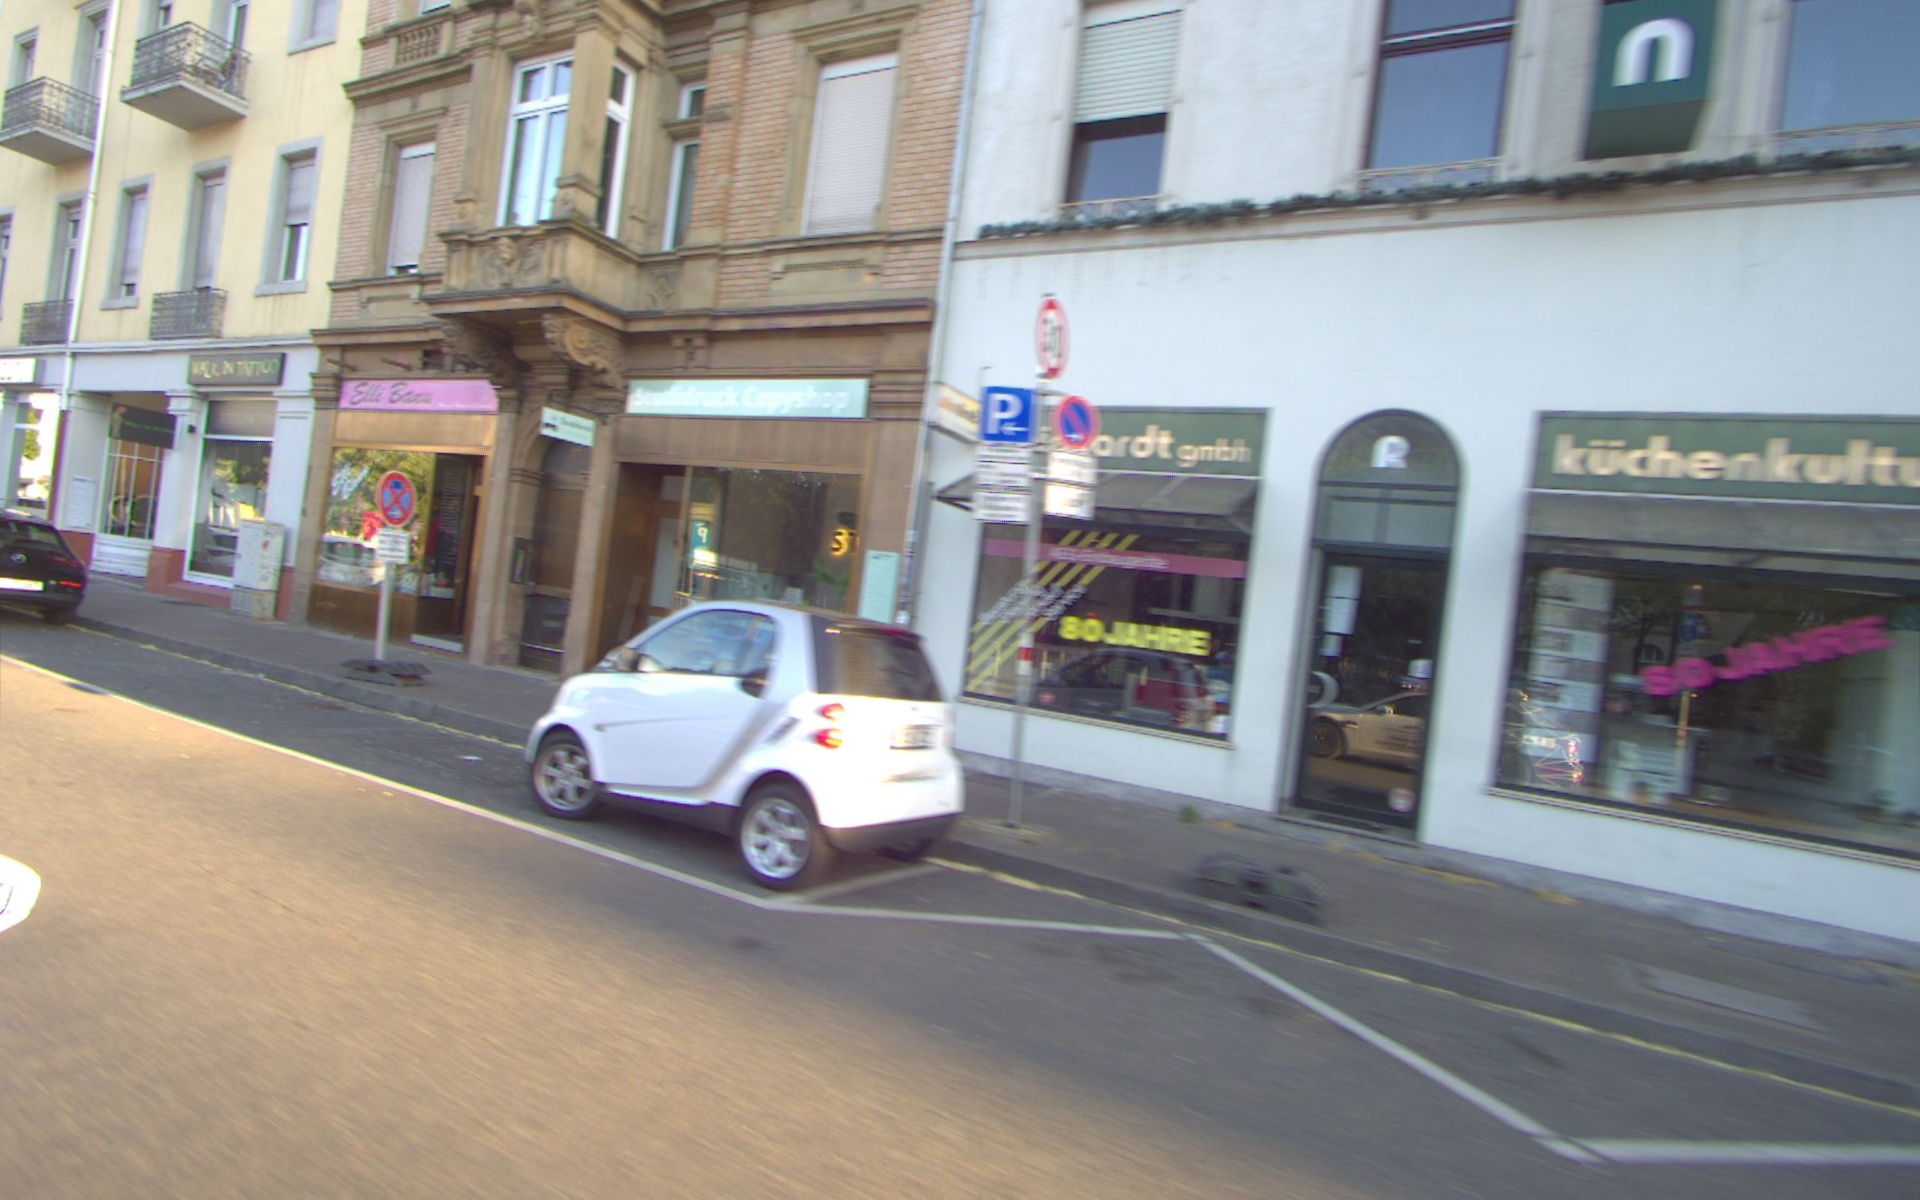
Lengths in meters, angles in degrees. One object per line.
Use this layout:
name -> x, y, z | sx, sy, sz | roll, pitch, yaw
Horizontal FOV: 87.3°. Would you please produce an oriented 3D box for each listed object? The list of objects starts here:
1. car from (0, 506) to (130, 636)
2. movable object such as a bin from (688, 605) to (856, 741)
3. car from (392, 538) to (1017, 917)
car -> -13.409, -0.601, 13.354 | 4.767, 1.451, 1.998 | 7, -2, 29
movable object such as a bin -> -1.973, 0.754, 10.597 | 1.374, 1.201, 0.868 | 7, -1, 29
car -> -1.834, 0.671, 6.923 | 3.931, 1.604, 1.703 | 8, 0, 29
